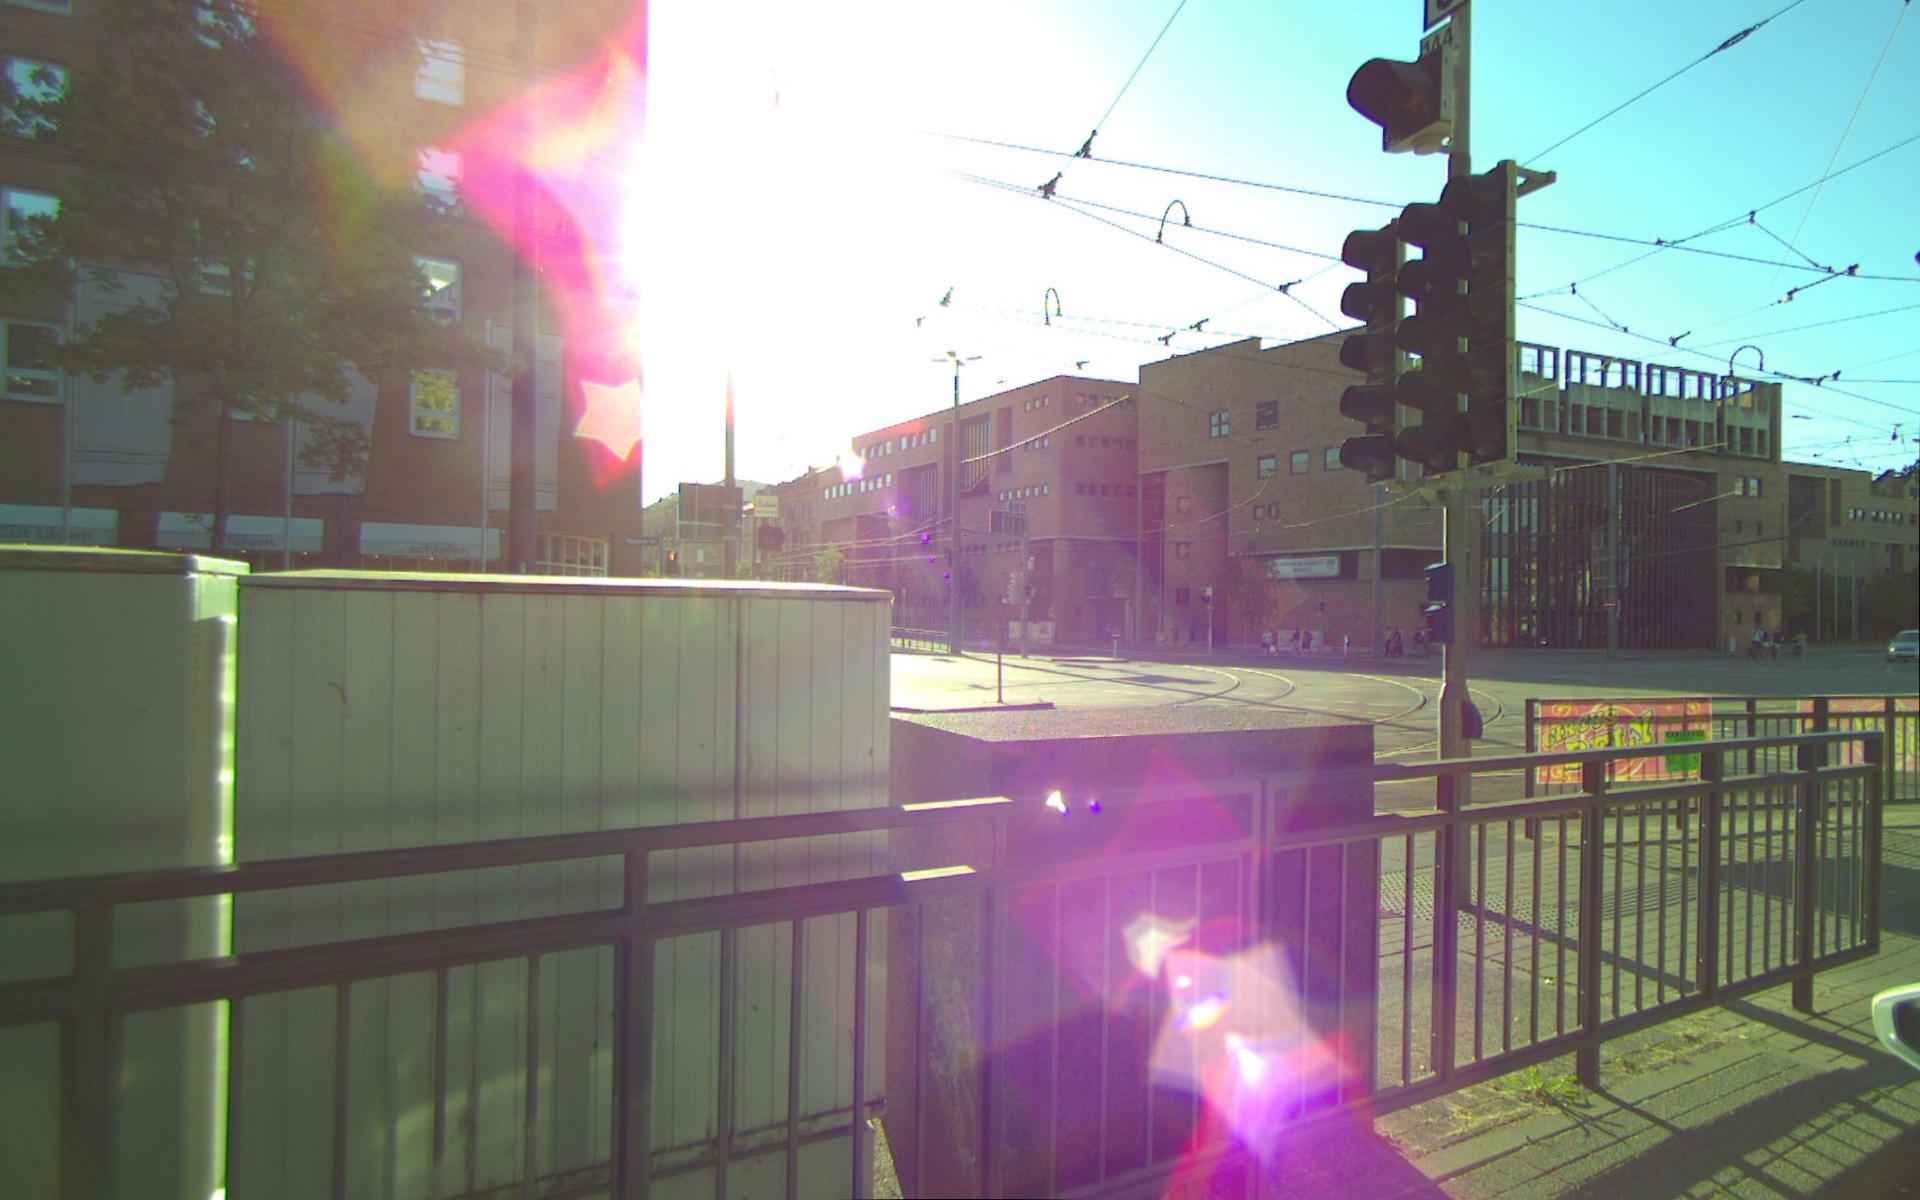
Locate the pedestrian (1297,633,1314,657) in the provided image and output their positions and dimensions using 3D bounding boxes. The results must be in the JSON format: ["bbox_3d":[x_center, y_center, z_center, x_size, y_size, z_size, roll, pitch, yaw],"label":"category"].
[{"bbox_3d":[19.237,2.505,55.882,0.670,1.357,0.602,1,-1,-15],"label":"pedestrian"}]

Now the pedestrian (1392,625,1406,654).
[{"bbox_3d":[25.534,2.297,58.406,0.539,1.706,0.573,0,-1,-3],"label":"pedestrian"}]

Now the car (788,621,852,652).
[{"bbox_3d":[-7.842,2.006,55.946,1.980,1.572,3.961,2,0,-35],"label":"car"}]

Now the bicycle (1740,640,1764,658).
[{"bbox_3d":[44.489,2.766,56.426,1.568,0.976,0.539,1,-1,-30],"label":"bicycle"}]

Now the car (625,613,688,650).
[{"bbox_3d":[-18.486,1.897,61.036,1.982,2.122,5.156,1,-2,-38],"label":"car"}]

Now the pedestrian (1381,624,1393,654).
[{"bbox_3d":[24.430,2.217,57.479,0.610,1.706,0.651,0,-1,20],"label":"pedestrian"}]

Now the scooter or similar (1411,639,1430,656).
[{"bbox_3d":[25.381,2.636,55.378,0.931,0.911,0.176,0,-1,14],"label":"scooter or similar"}]

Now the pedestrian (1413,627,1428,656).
[{"bbox_3d":[26.567,2.405,57.969,0.605,1.647,0.613,0,-1,8],"label":"pedestrian"}]

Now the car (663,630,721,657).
[{"bbox_3d":[-14.423,2.308,53.925,1.729,1.372,3.960,1,-2,-36],"label":"car"}]

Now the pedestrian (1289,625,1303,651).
[{"bbox_3d":[19.141,2.157,57.179,0.602,1.473,0.570,0,-1,-1],"label":"pedestrian"}]

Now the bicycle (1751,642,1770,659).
[{"bbox_3d":[46.766,2.926,58.681,1.304,0.976,0.465,1,-1,-30],"label":"bicycle"}]

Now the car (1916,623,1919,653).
[{"bbox_3d":[55.255,2.109,55.897,3.954,1.661,1.983,1,-2,-31],"label":"car"}]

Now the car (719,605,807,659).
[{"bbox_3d":[-9.469,1.515,47.980,1.982,2.419,5.156,1,-2,-38],"label":"car"}]

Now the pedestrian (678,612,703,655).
[{"bbox_3d":[-13.181,1.643,49.092,0.856,2.040,0.880,2,0,-39],"label":"pedestrian"}]

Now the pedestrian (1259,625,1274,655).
[{"bbox_3d":[17.050,2.237,55.882,0.540,1.670,0.599,1,-1,-14],"label":"pedestrian"}]

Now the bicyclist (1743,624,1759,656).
[{"bbox_3d":[44.421,2.254,56.387,0.574,1.754,0.534,1,-1,-30],"label":"bicyclist"}]

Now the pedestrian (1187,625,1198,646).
[{"bbox_3d":[16.342,2.483,70.513,0.556,1.445,0.549,1,-2,-44],"label":"pedestrian"}]

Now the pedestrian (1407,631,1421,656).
[{"bbox_3d":[25.804,2.463,57.131,0.587,1.440,0.642,0,-1,10],"label":"pedestrian"}]

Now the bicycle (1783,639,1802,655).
[{"bbox_3d":[49.359,2.784,59.548,1.332,0.976,0.449,1,-1,-30],"label":"bicycle"}]

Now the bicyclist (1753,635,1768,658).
[{"bbox_3d":[46.788,2.718,58.677,0.574,1.321,0.503,1,-1,-30],"label":"bicyclist"}]

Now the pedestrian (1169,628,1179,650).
[{"bbox_3d":[15.007,2.739,70.542,0.524,1.482,0.590,1,-1,-8],"label":"pedestrian"}]

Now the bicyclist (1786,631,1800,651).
[{"bbox_3d":[49.462,2.435,59.636,0.574,1.194,0.503,1,-1,-30],"label":"bicyclist"}]

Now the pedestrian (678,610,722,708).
[{"bbox_3d":[-5.095,1.144,19.660,0.647,1.864,0.835,1,-1,-28],"label":"pedestrian"}]

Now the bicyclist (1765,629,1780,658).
[{"bbox_3d":[45.063,2.398,55.695,0.574,1.624,0.456,1,-1,-30],"label":"bicyclist"}]

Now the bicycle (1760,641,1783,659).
[{"bbox_3d":[44.966,2.739,55.667,1.557,0.976,0.470,1,-1,-30],"label":"bicycle"}]

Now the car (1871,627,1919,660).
[{"bbox_3d":[48.986,2.222,51.784,3.954,1.661,1.983,1,-2,-31],"label":"car"}]

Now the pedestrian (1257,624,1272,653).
[{"bbox_3d":[17.245,2.158,56.966,0.580,1.635,0.596,1,-1,-16],"label":"pedestrian"}]

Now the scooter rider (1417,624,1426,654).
[{"bbox_3d":[25.432,2.159,55.387,0.429,1.669,0.229,0,-1,15],"label":"scooter rider"}]

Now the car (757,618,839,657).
[{"bbox_3d":[-8.411,1.907,51.800,1.982,1.928,5.156,1,-2,-38],"label":"car"}]

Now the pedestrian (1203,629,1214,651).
[{"bbox_3d":[16.861,2.731,68.136,0.463,1.482,0.505,1,-1,-37],"label":"pedestrian"}]

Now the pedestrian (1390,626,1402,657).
[{"bbox_3d":[24.560,2.344,56.605,0.540,1.706,0.592,0,-1,12],"label":"pedestrian"}]

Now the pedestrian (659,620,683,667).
[{"bbox_3d":[-10.516,1.571,36.496,0.658,1.669,0.638,1,-1,-34],"label":"pedestrian"}]

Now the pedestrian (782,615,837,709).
[{"bbox_3d":[-2.780,1.122,18.523,0.709,1.669,0.953,1,-1,-30],"label":"pedestrian"}]

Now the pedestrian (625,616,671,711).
[{"bbox_3d":[-6.205,1.238,19.971,0.713,1.837,0.904,1,-1,-28],"label":"pedestrian"}]
